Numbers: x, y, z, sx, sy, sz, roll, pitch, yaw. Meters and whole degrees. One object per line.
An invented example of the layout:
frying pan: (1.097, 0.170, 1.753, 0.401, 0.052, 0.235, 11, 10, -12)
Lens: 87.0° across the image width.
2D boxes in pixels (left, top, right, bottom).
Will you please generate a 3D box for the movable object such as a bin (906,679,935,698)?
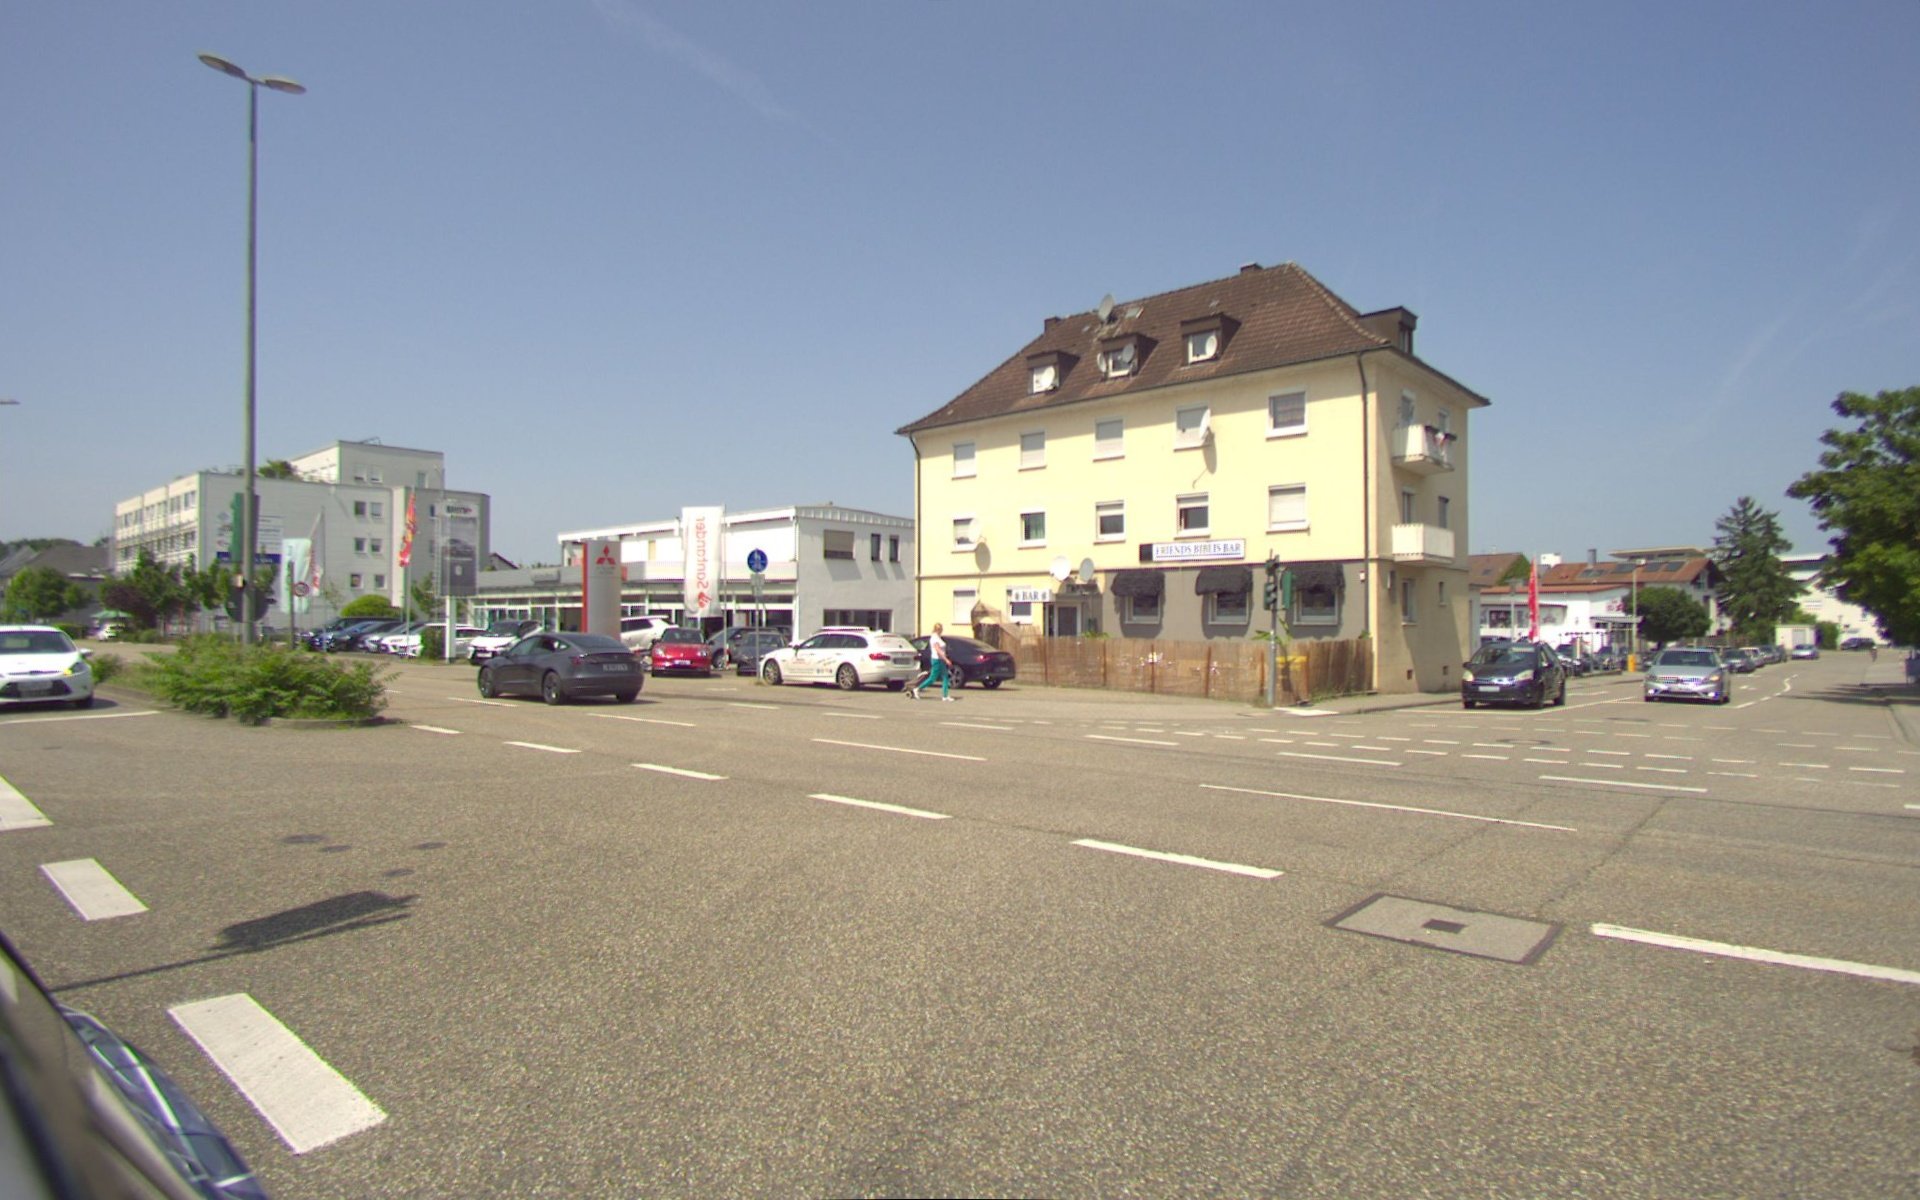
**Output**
movable object such as a bin: (-0.882, 1.956, 22.397, 0.506, 0.375, 0.412, -2, -2, 43)

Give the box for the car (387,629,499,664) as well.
car: (-22.330, 1.981, 43.818, 1.858, 1.405, 3.947, -1, -2, 40)

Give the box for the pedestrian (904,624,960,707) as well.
pedestrian: (-0.619, 1.408, 22.206, 1.034, 1.760, 0.732, -2, -2, 44)

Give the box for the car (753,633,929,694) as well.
car: (-3.117, 1.573, 25.830, 4.758, 1.421, 1.756, -2, -4, 43)

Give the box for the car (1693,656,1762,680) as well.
car: (57.970, 5.100, 76.487, 3.998, 1.697, 1.973, -2, -3, 41)

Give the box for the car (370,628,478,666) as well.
car: (-24.308, 2.090, 45.980, 1.925, 1.621, 3.943, -2, -2, 43)

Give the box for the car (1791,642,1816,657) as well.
car: (76.779, 4.505, 92.094, 1.622, 1.369, 3.242, -2, -3, 41)

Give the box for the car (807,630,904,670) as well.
car: (-4.443, 2.100, 43.345, 1.864, 1.627, 3.946, -1, -2, 41)

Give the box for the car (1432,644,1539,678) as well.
car: (23.960, 2.736, 46.217, 4.001, 1.464, 1.670, -2, -3, 44)

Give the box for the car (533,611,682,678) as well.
car: (-12.185, 1.468, 35.180, 1.760, 1.721, 4.499, -1, 5, 43)

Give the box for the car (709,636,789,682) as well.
car: (-7.245, 1.954, 34.480, 1.622, 1.437, 4.013, 1, -2, -28)

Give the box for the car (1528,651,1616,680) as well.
car: (33.153, 3.525, 54.859, 3.740, 1.479, 1.734, -2, -3, 45)

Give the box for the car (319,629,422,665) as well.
car: (-28.886, 2.316, 49.675, 1.758, 1.621, 3.947, -1, -5, 39)

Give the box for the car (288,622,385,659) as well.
car: (-32.972, 2.114, 53.560, 1.998, 1.896, 3.947, -2, -2, 40)

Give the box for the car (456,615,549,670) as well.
car: (-18.296, 1.669, 40.685, 1.736, 1.635, 3.999, 0, 6, 3)

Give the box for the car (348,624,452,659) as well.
car: (-26.450, 1.937, 47.911, 1.758, 1.580, 3.947, -2, -3, 39)

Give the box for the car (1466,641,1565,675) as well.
car: (26.269, 2.717, 47.919, 3.740, 1.479, 1.734, -2, -3, 45)

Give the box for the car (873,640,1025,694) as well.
car: (-0.341, 1.775, 27.626, 3.995, 1.361, 1.715, -2, -2, 39)

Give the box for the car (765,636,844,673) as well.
car: (-5.683, 1.941, 36.652, 1.622, 1.261, 4.013, 1, -2, -28)

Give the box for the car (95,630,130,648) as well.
car: (-72.380, 3.292, 86.400, 3.662, 1.460, 1.674, -2, -1, 40)

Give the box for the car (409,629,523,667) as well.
car: (-20.696, 1.975, 42.530, 1.758, 1.478, 3.947, -1, -2, 40)

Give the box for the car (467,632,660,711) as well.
car: (-8.471, 1.426, 21.430, 4.499, 1.497, 1.973, -1, -2, 41)

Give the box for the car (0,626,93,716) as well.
car: (-16.660, 1.185, 17.793, 3.710, 1.445, 1.671, -2, -2, 42)

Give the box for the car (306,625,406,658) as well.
car: (-30.868, 2.131, 51.785, 2.087, 1.621, 3.947, -1, -3, 40)

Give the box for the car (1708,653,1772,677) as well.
car: (63.336, 5.276, 82.234, 3.998, 1.795, 1.973, -2, -3, 41)

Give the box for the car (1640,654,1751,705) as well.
car: (20.758, 2.182, 28.511, 3.940, 1.243, 1.870, 2, -3, -44)

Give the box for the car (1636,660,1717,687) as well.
car: (47.353, 4.838, 66.901, 1.969, 1.630, 4.006, 2, -3, -40)

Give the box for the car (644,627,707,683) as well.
car: (-9.051, 1.690, 32.359, 1.809, 1.655, 4.189, 0, -2, -14)

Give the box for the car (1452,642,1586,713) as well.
car: (14.177, 1.882, 25.586, 3.940, 1.624, 1.870, 2, -3, -44)
